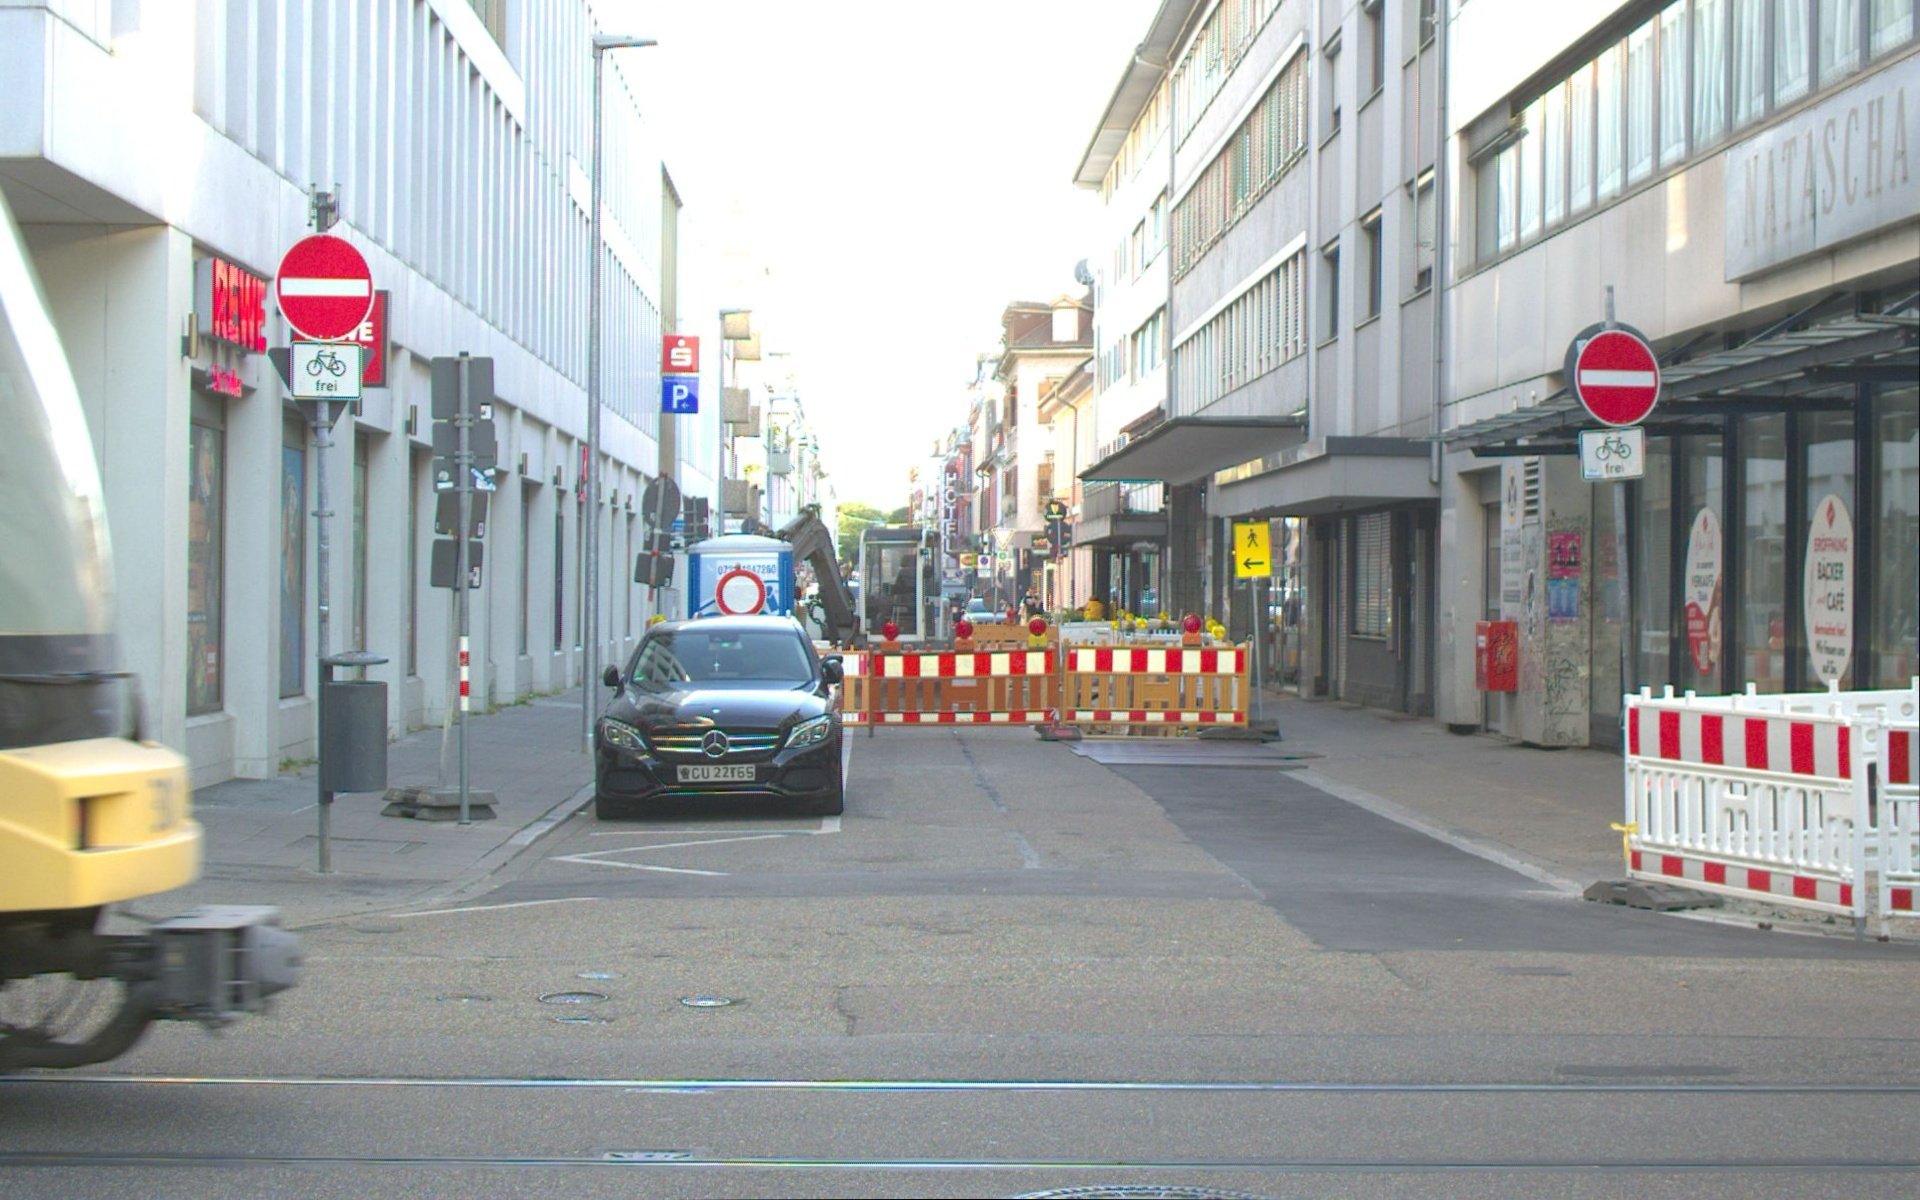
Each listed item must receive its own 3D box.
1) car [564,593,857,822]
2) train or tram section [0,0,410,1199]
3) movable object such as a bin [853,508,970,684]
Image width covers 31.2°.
[{"bbox_3d":[-1.822,0.765,26.317,1.897,1.607,4.152,0,0,1],"label":"car"},{"bbox_3d":[-6.963,-0.316,9.782,10.335,3.512,3.027,0,0,-1],"label":"train or tram section"},{"bbox_3d":[-0.690,-0.066,49.730,1.437,2.485,1.757,1,0,7],"label":"movable object such as a bin"}]
